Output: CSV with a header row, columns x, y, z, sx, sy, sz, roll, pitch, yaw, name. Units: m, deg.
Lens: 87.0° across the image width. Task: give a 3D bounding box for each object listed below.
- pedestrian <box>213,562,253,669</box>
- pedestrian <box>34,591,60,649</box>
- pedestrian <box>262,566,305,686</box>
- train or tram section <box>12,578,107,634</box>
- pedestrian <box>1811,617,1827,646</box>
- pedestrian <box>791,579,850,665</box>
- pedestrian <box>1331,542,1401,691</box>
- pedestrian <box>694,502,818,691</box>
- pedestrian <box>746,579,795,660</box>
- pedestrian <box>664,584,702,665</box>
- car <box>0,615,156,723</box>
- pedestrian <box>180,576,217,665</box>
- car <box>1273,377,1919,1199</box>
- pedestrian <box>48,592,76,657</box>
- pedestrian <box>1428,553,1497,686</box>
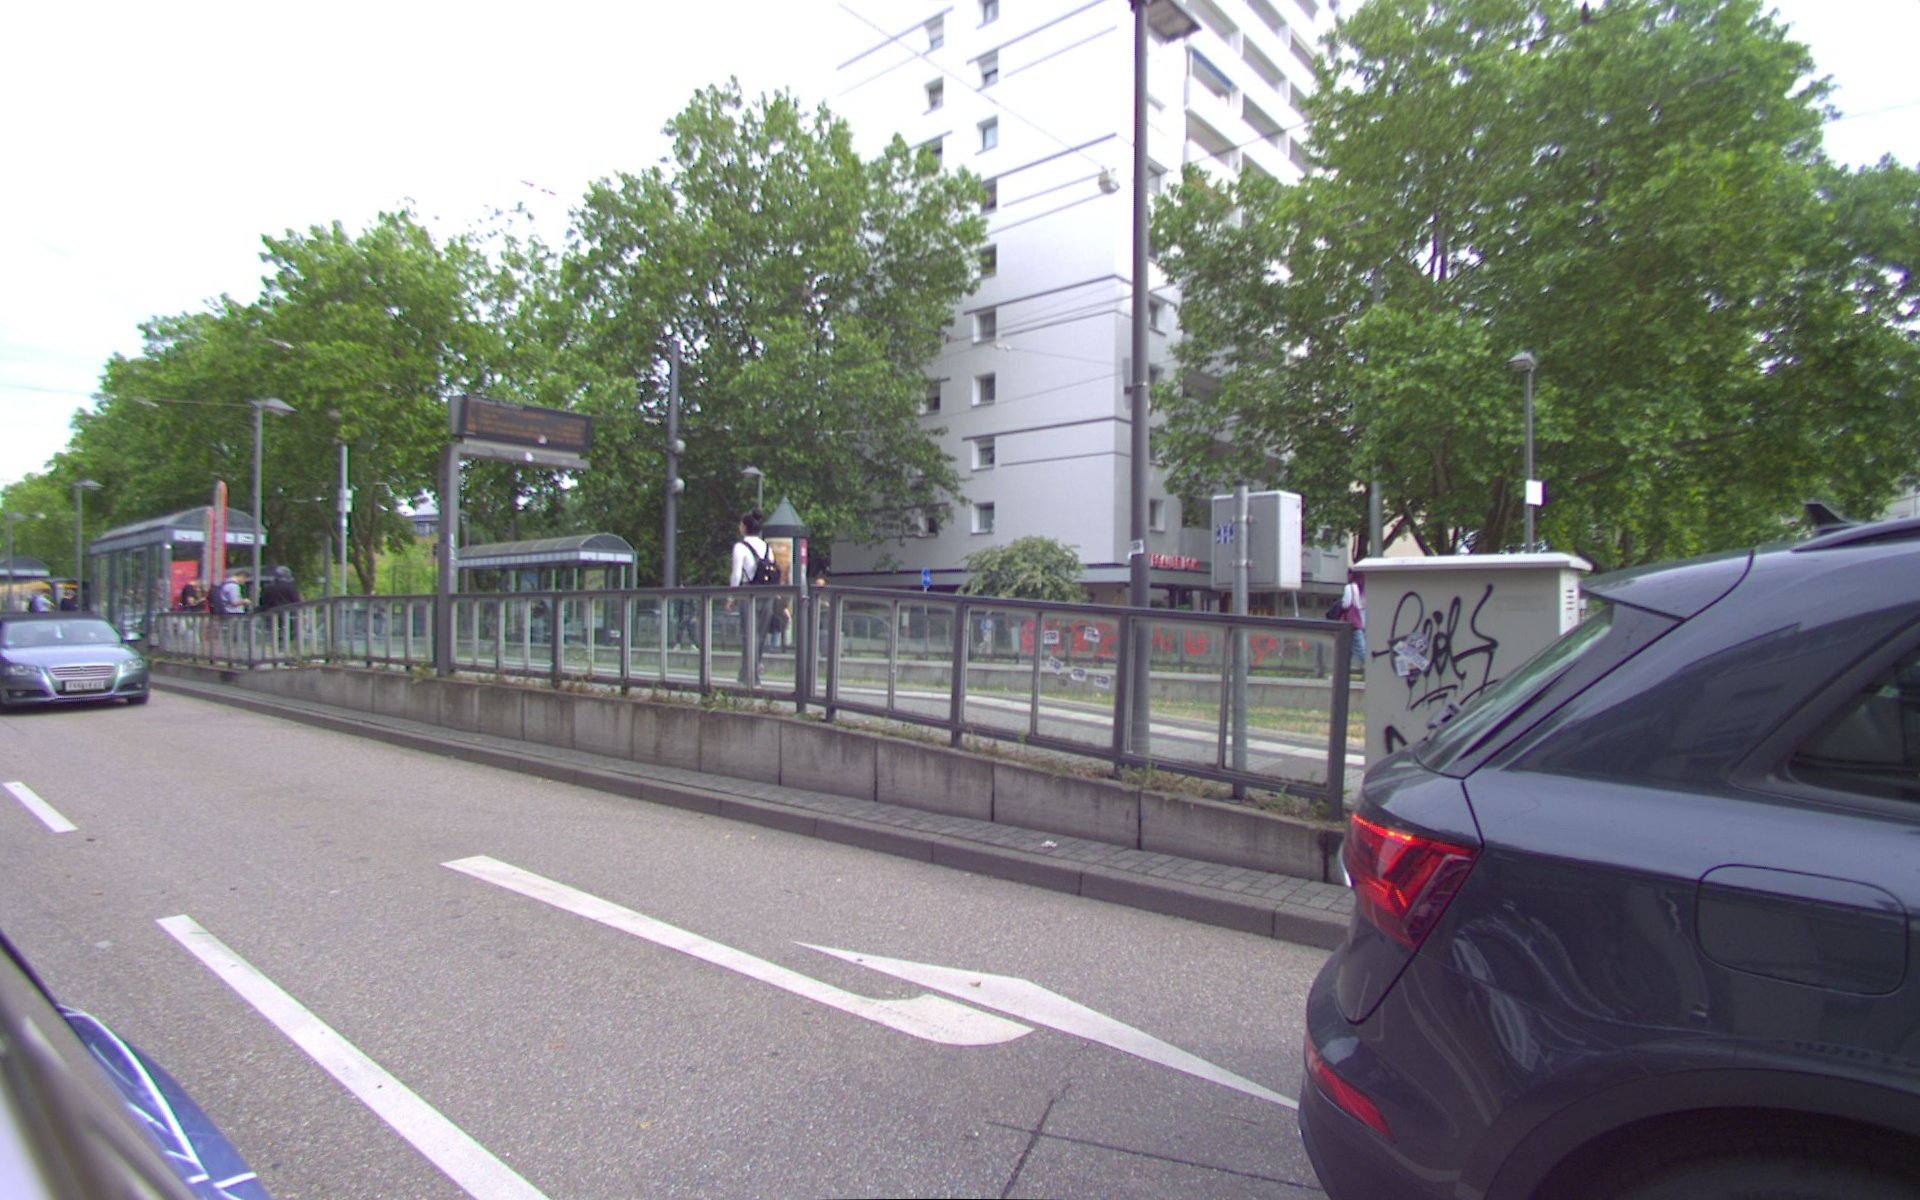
x,y,z,sx,sy,sz,roll,pitch,yaw,name
-12.708,0.266,17.680,0.605,1.818,0.469,-1,0,45,pedestrian
-29.040,0.623,32.196,0.523,1.818,0.607,-1,0,-35,pedestrian
-10.532,0.388,15.752,0.513,1.818,0.606,-1,0,-37,pedestrian
-65.497,0.456,73.437,15.196,3.781,3.295,-1,0,41,train or tram section
60.121,2.202,70.848,0.671,2.029,0.665,-1,0,23,pedestrian
-2.959,0.448,21.452,0.850,1.769,0.871,-1,0,41,pedestrian
5.555,0.223,13.842,0.666,1.965,0.728,-1,0,41,pedestrian
-1.943,-0.028,9.607,0.979,1.683,0.711,-1,0,44,pedestrian
-4.417,0.434,23.600,0.666,1.848,0.871,-1,0,41,pedestrian
-6.792,0.598,24.851,0.553,1.945,0.690,-1,0,41,pedestrian
-13.761,0.944,15.389,4.097,1.398,1.694,-1,0,41,car
-15.928,0.419,21.173,0.467,1.818,0.607,-1,0,-24,pedestrian
2.687,0.540,0.983,4.225,1.649,1.715,-1,0,41,car
-25.571,0.693,28.834,0.523,1.818,0.607,-1,0,-35,pedestrian
6.906,0.259,13.909,0.666,1.763,0.728,-1,0,41,pedestrian
